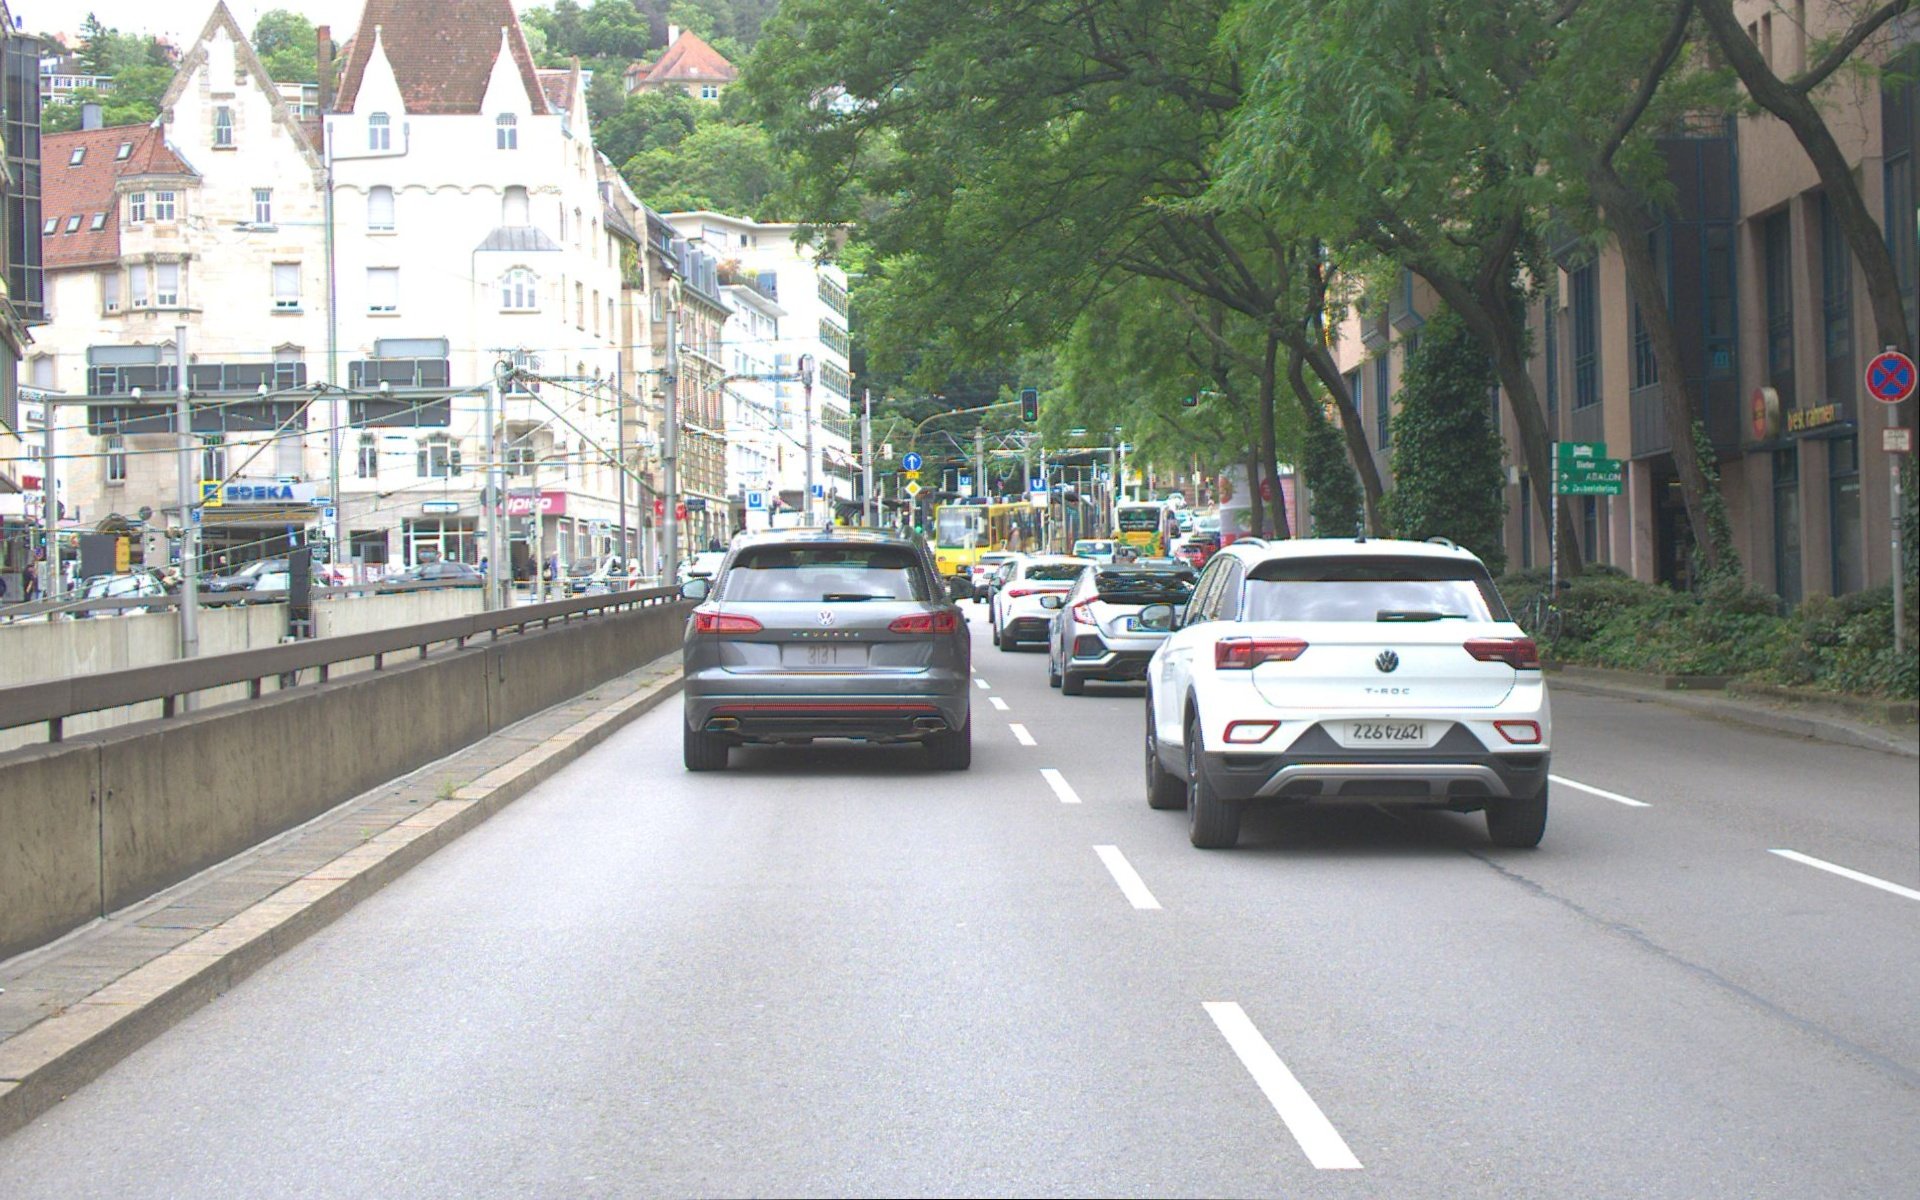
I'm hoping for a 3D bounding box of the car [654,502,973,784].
[{"bbox_3d":[-1.029,0.217,24.266,1.970,1.689,4.225,-3,2,-2],"label":"car"}]

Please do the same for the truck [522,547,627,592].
[{"bbox_3d":[-15.179,-1.229,135.555,2.108,1.641,4.792,-1,1,21],"label":"truck"}]

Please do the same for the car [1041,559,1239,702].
[{"bbox_3d":[1.908,0.289,37.546,1.833,1.427,4.148,0,1,-2],"label":"car"}]

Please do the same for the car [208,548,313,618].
[{"bbox_3d":[-18.566,-0.472,91.351,1.993,1.761,4.000,-2,1,-1],"label":"car"}]

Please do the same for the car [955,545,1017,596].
[{"bbox_3d":[0.839,-0.981,112.368,1.832,1.561,3.767,-2,1,-1],"label":"car"}]

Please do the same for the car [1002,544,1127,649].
[{"bbox_3d":[1.621,-0.080,54.417,1.832,1.512,3.767,-3,1,1],"label":"car"}]

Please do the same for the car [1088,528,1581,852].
[{"bbox_3d":[1.873,0.422,18.413,1.797,1.540,3.936,0,0,-6],"label":"car"}]

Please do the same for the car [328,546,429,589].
[{"bbox_3d":[-23.548,-1.331,139.202,3.986,1.641,1.825,-2,1,-10],"label":"car"}]

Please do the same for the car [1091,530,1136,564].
[{"bbox_3d":[7.026,-2.442,157.132,1.844,1.464,3.999,-1,1,5],"label":"car"}]

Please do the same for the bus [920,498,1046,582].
[{"bbox_3d":[1.213,-2.752,157.492,3.850,3.520,17.241,-1,1,7],"label":"bus"}]

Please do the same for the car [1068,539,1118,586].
[{"bbox_3d":[5.560,-1.573,144.280,1.832,1.868,4.870,-2,1,0],"label":"car"}]

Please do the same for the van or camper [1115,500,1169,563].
[{"bbox_3d":[9.447,-3.541,177.611,2.628,3.167,5.802,-1,1,4],"label":"van or camper"}]

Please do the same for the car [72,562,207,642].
[{"bbox_3d":[-18.198,0.023,76.438,1.993,1.678,4.000,-1,1,0],"label":"car"}]

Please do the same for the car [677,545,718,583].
[{"bbox_3d":[-11.894,-1.629,155.688,1.818,1.641,4.001,-2,1,-5],"label":"car"}]
